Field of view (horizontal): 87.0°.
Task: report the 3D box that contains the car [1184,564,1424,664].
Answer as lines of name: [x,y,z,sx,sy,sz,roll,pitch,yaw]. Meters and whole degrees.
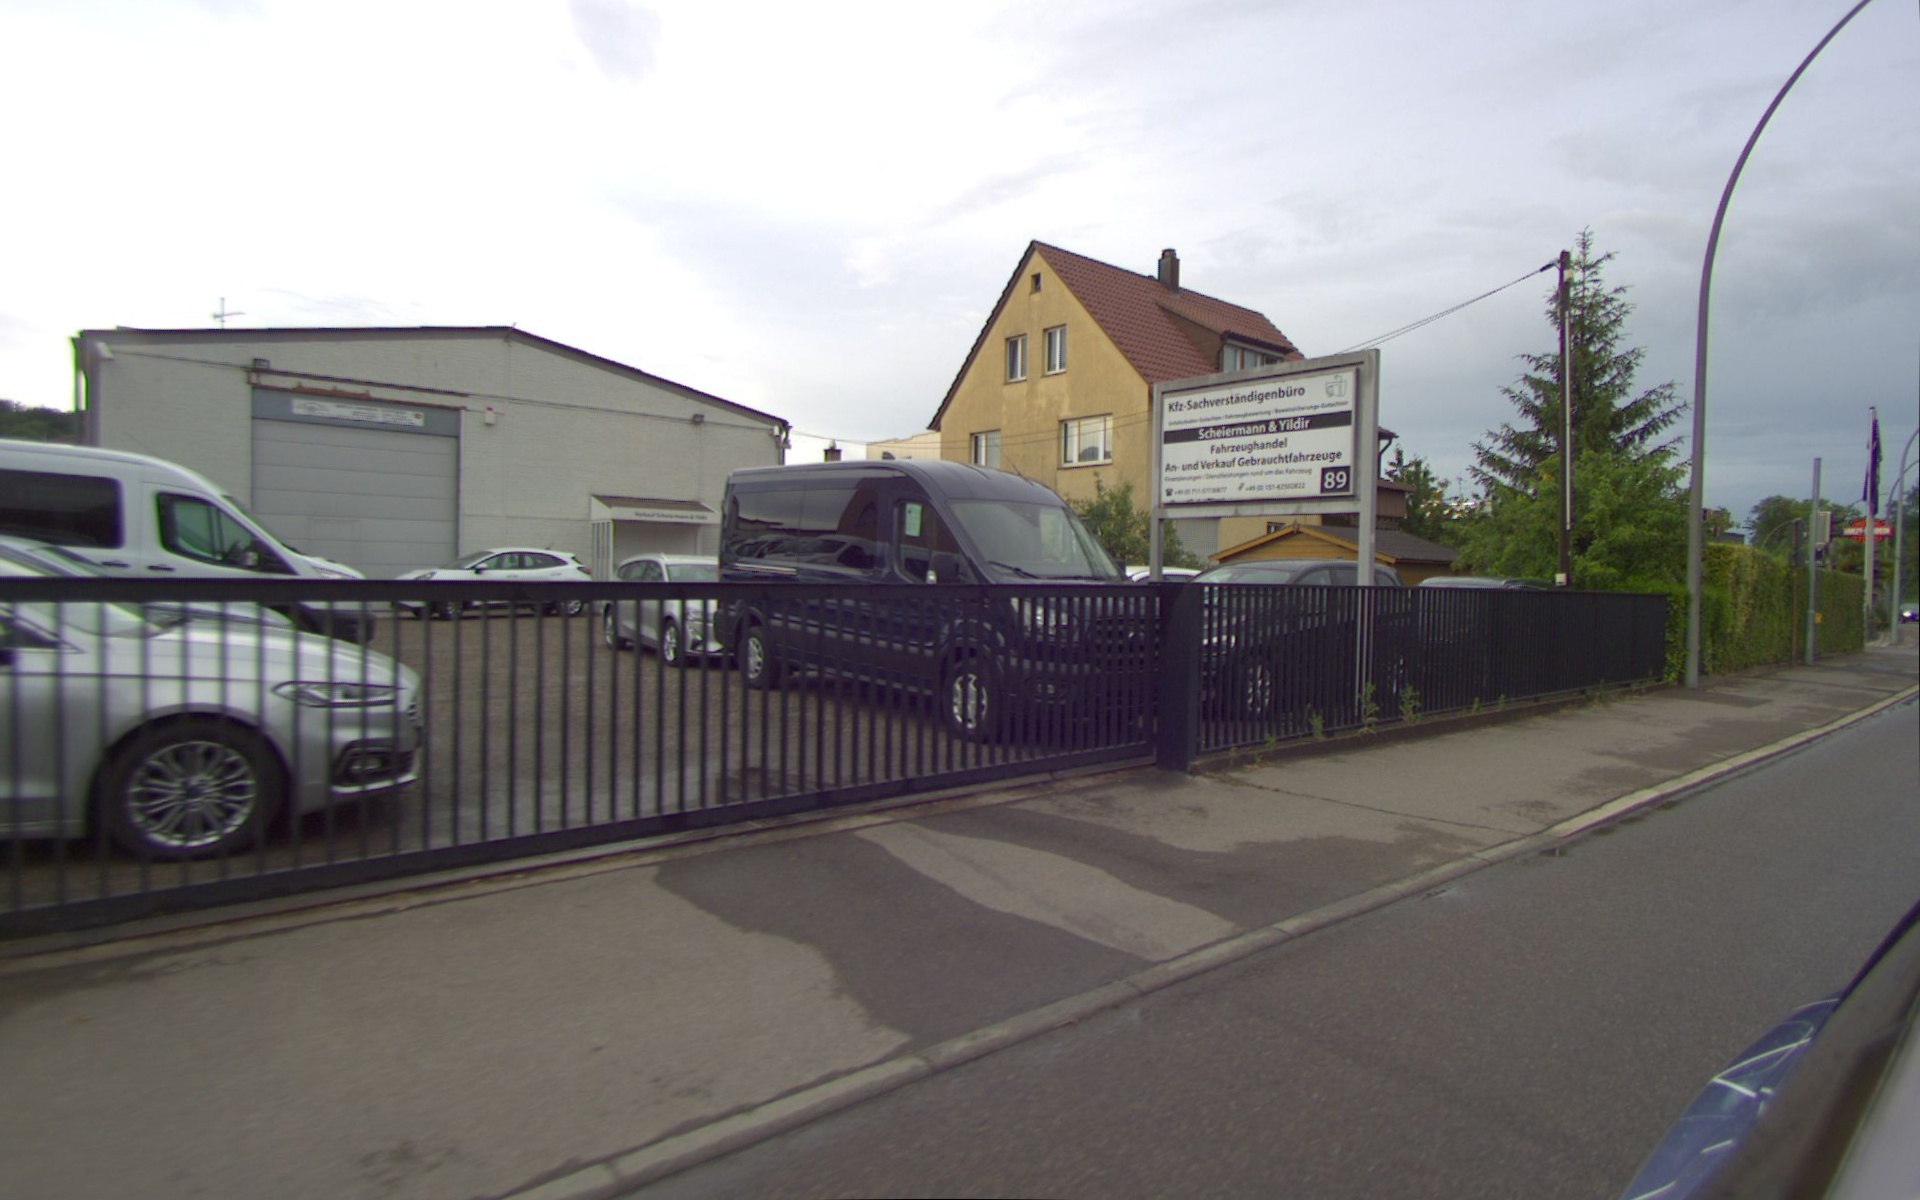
car: [5.595,0.167,16.318,3.832,1.371,1.742,-2,1,-36]

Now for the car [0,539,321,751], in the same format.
car: [-8.468,0.382,8.805,4.722,1.671,2.098,-2,1,-28]

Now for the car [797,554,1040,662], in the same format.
car: [-0.655,0.073,17.382,3.894,1.619,1.634,-2,1,-37]

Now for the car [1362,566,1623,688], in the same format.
car: [7.545,0.336,14.197,4.166,1.475,1.666,0,-1,-38]

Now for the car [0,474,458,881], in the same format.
car: [-5.233,0.348,4.673,5.130,1.671,2.130,-2,1,-28]

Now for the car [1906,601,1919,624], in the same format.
car: [70.705,0.900,73.941,1.828,1.639,3.947,2,1,36]

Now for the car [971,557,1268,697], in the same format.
car: [2.223,0.270,13.639,3.926,1.586,1.666,-2,1,-37]

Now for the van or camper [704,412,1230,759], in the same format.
van or camper: [-0.354,-0.179,10.317,2.094,2.516,5.919,-2,2,-38]

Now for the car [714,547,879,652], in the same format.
car: [-3.444,-0.050,21.587,3.085,2.076,1.577,-2,0,-43]

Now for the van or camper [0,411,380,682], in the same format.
van or camper: [-9.927,-0.575,11.189,5.906,2.713,2.066,-2,3,-35]

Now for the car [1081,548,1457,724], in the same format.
car: [3.575,0.266,11.303,4.482,1.586,1.666,-2,1,-37]

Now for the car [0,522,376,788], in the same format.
car: [-6.533,0.347,7.181,4.016,1.671,1.892,-2,1,-28]

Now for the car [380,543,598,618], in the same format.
car: [-10.313,-0.454,22.302,3.934,1.498,1.995,-3,1,-43]

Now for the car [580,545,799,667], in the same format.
car: [-4.063,0.005,14.673,1.677,1.501,4.339,-1,2,-35]
